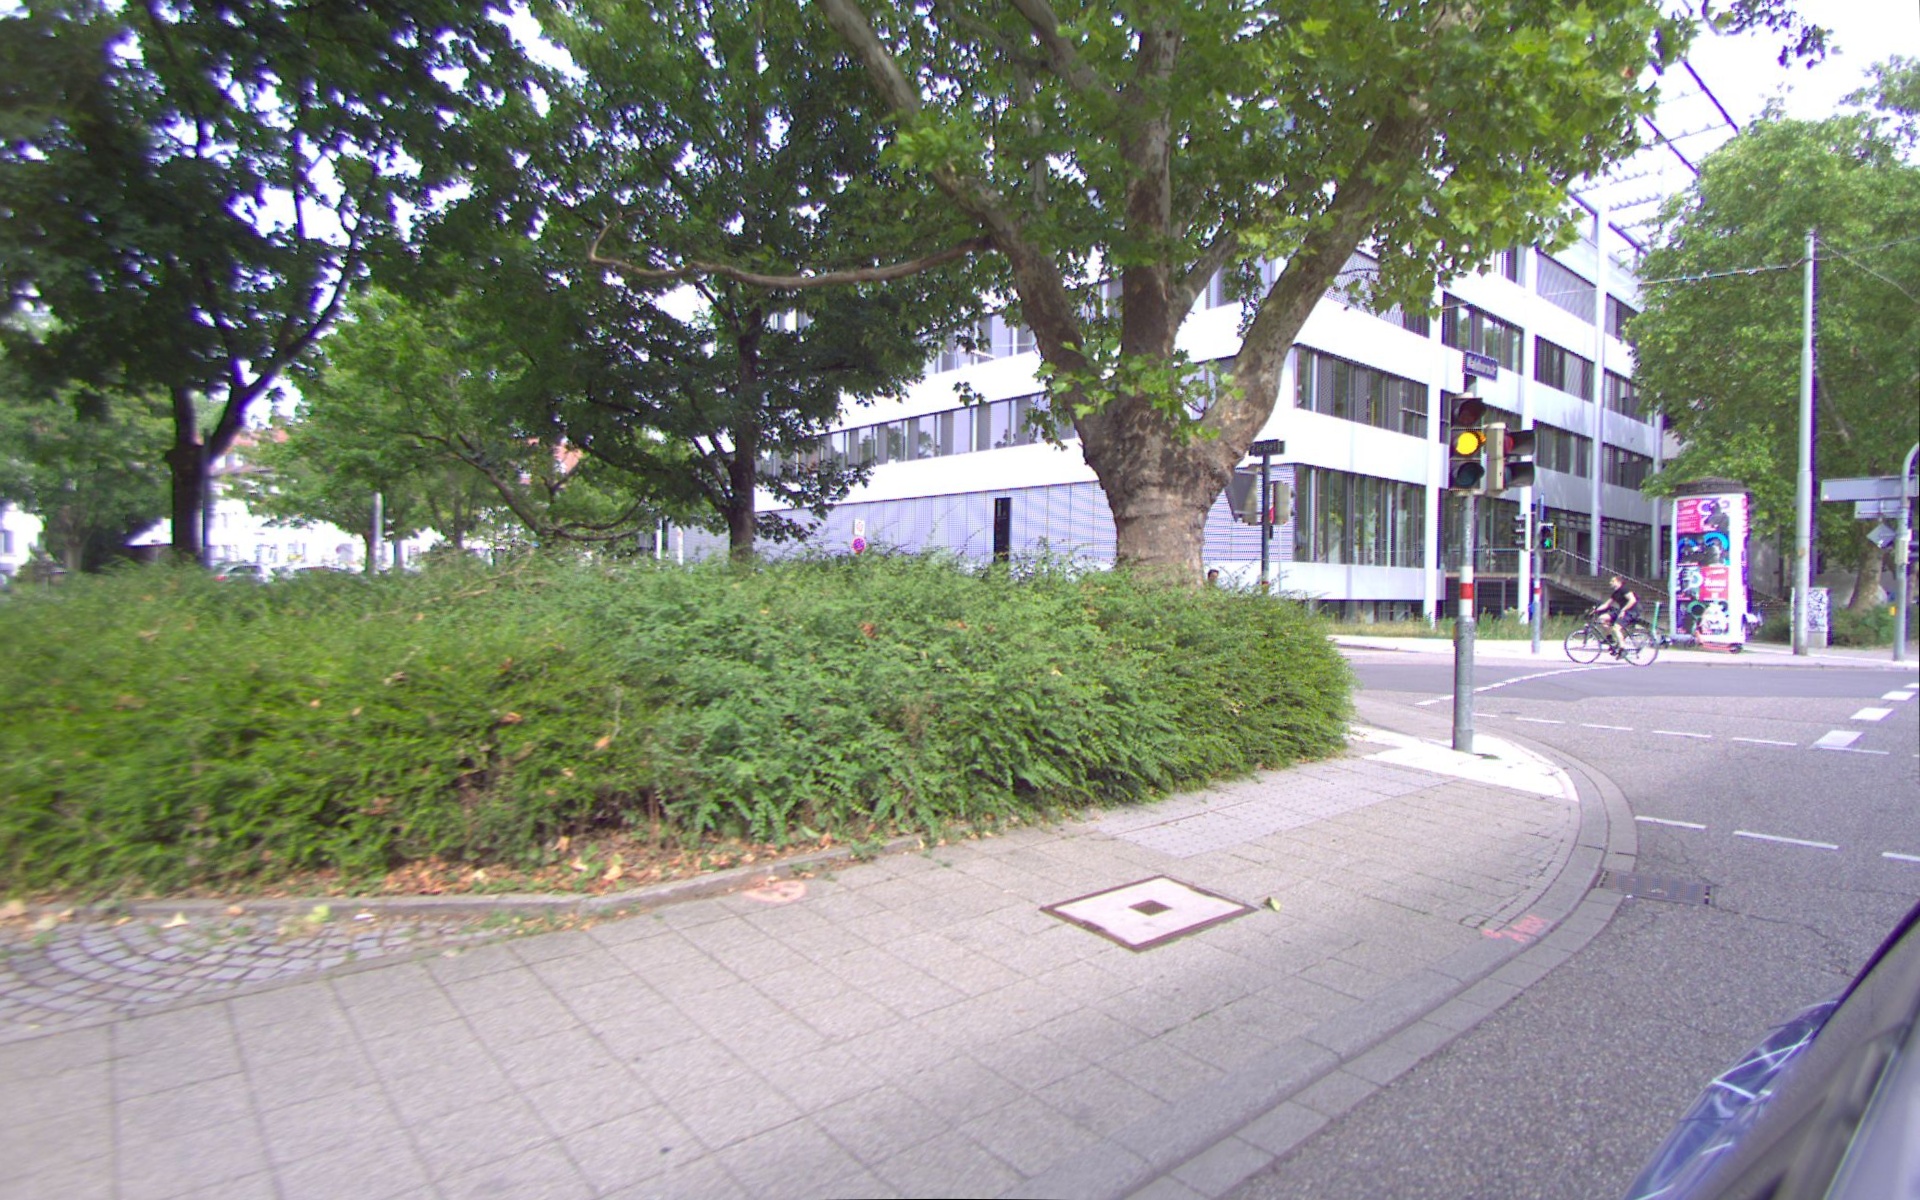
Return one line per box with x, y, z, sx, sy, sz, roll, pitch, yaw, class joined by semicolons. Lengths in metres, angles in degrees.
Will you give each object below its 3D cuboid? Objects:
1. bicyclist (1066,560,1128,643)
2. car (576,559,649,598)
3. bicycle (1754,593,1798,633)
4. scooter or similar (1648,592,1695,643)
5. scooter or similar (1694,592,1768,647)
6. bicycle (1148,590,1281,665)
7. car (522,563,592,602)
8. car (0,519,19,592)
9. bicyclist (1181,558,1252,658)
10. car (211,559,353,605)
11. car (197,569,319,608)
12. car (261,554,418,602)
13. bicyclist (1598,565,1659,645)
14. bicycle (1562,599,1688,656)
2.735;0.011;20.192;0.898;1.596;0.832;-1;1;-36;bicyclist
-18.004;-1.058;52.341;3.862;1.885;1.925;-1;-1;41;car
24.362;0.383;30.210;1.695;1.184;0.699;0;-1;-41;bicycle
17.506;0.408;24.910;0.465;1.151;1.304;2;2;15;scooter or similar
18.322;0.449;24.066;0.338;1.224;1.311;0;3;-35;scooter or similar
4.440;0.438;17.828;0.898;1.187;2.252;-1;2;-35;bicycle
-22.097;-0.944;55.484;3.982;2.039;1.970;-1;-1;41;car
-37.951;-1.663;36.833;5.404;2.647;2.437;0;-1;-43;car
4.499;0.114;17.752;0.898;1.699;0.832;-1;1;-36;bicyclist
-28.360;-0.726;42.421;4.693;1.817;1.995;0;-1;-43;car
-34.475;-0.536;49.750;4.694;1.817;1.995;0;-1;-44;car
-22.753;-0.746;37.196;4.687;1.651;1.997;0;-1;-39;car
13.733;0.103;20.805;0.790;1.604;0.770;-1;-2;15;bicyclist
13.608;0.565;20.778;1.974;1.145;0.770;-1;-2;15;bicycle
